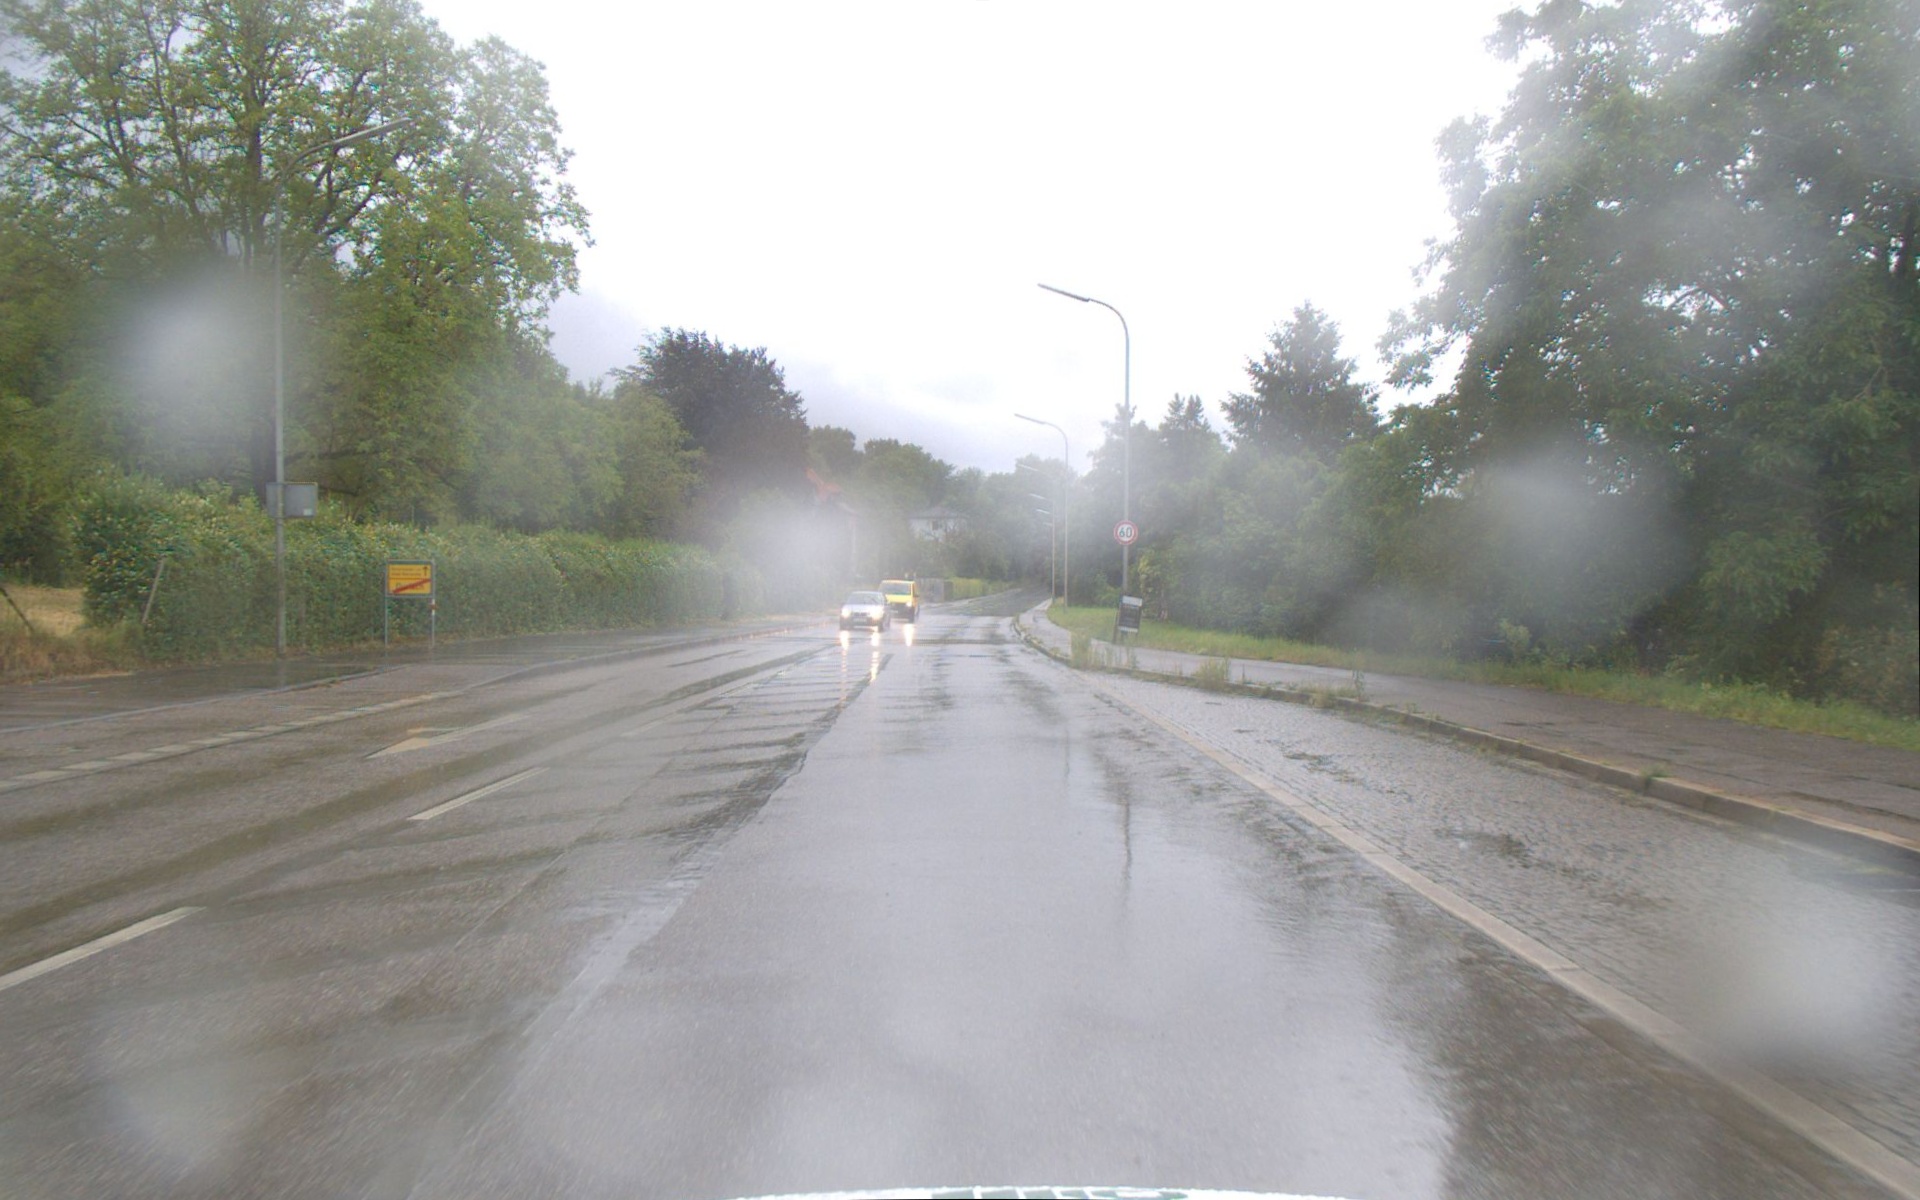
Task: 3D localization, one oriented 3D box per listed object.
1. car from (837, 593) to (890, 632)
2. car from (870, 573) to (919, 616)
[{"bbox_3d":[-3.541,0.442,61.101,1.666,1.373,3.905,1,0,1],"label":"car"},{"bbox_3d":[-3.039,-0.250,77.945,1.897,1.904,5.037,1,0,2],"label":"car"}]
